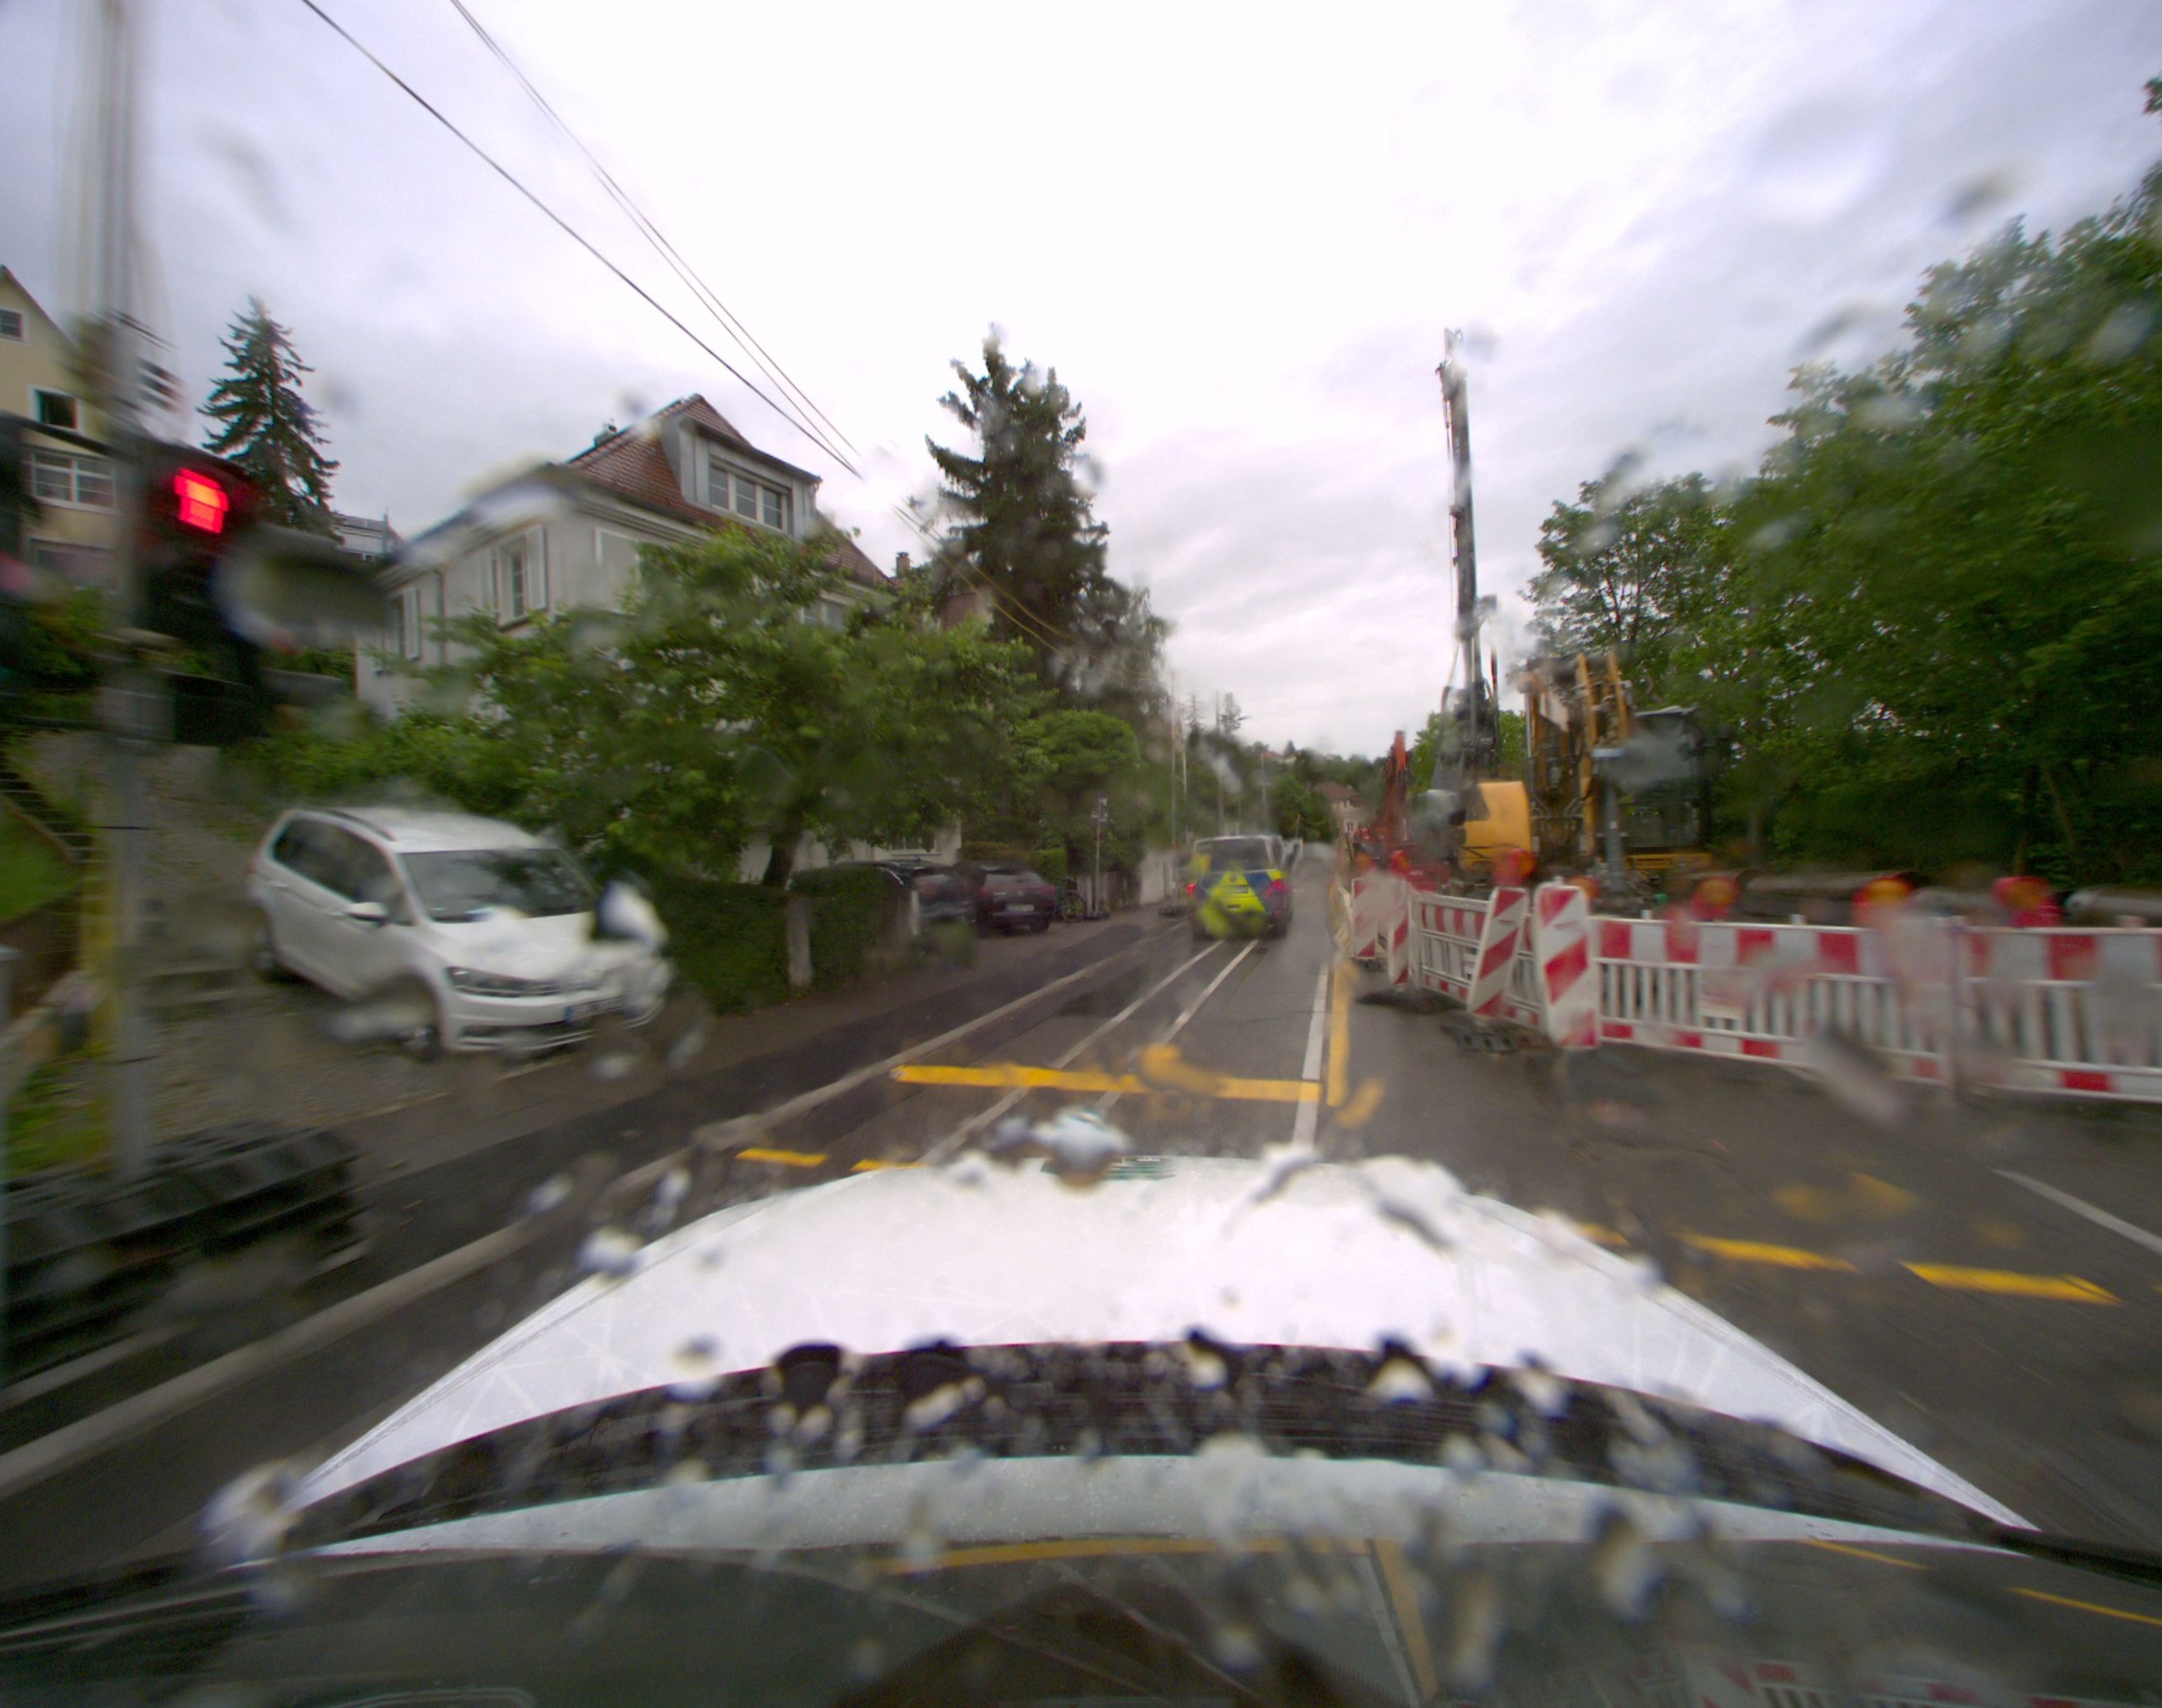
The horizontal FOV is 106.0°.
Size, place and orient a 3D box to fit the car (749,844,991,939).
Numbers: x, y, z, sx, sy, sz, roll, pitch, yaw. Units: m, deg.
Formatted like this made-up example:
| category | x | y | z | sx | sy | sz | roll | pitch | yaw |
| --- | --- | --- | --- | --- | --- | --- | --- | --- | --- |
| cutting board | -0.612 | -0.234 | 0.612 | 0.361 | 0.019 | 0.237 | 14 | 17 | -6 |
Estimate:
| category | x | y | z | sx | sy | sz | roll | pitch | yaw |
| --- | --- | --- | --- | --- | --- | --- | --- | --- | --- |
| car | -3.858 | 0.653 | 14.891 | 3.950 | 1.526 | 1.952 | -1 | -1 | 26 |

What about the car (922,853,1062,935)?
| category | x | y | z | sx | sy | sz | roll | pitch | yaw |
| --- | --- | --- | --- | --- | --- | --- | --- | --- | --- |
| car | -2.010 | 0.769 | 17.293 | 1.790 | 1.525 | 3.967 | 0 | -1 | -25 |

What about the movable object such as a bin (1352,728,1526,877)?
| category | x | y | z | sx | sy | sz | roll | pitch | yaw |
| --- | --- | --- | --- | --- | --- | --- | --- | --- | --- |
| movable object such as a bin | 14.210 | -1.782 | 32.054 | 7.204 | 5.067 | 3.648 | -1 | -3 | -45 |

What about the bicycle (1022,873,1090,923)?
| category | x | y | z | sx | sy | sz | roll | pitch | yaw |
| --- | --- | --- | --- | --- | --- | --- | --- | --- | --- |
| bicycle | -0.597 | 1.011 | 19.052 | 1.603 | 1.131 | 0.446 | -1 | -2 | 31 |

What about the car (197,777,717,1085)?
| category | x | y | z | sx | sy | sz | roll | pitch | yaw |
| --- | --- | --- | --- | --- | --- | --- | --- | --- | --- |
| car | -5.929 | 0.426 | 7.593 | 4.919 | 1.616 | 1.875 | 10 | 5 | 27 |

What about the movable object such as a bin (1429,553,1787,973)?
| category | x | y | z | sx | sy | sz | roll | pitch | yaw |
| --- | --- | --- | --- | --- | --- | --- | --- | --- | --- |
| movable object such as a bin | 6.321 | -0.872 | 10.660 | 2.854 | 4.171 | 4.510 | -3 | 0 | 20 |

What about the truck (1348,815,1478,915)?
| category | x | y | z | sx | sy | sz | roll | pitch | yaw |
| --- | --- | --- | --- | --- | --- | --- | --- | --- | --- |
| truck | 7.847 | 0.291 | 19.641 | 2.531 | 2.108 | 3.318 | -3 | -2 | 17 |

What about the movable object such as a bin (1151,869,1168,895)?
| category | x | y | z | sx | sy | sz | roll | pitch | yaw |
| --- | --- | --- | --- | --- | --- | --- | --- | --- | --- |
| movable object such as a bin | 2.865 | 1.019 | 29.631 | 0.503 | 0.965 | 0.500 | -1 | -1 | 17 |

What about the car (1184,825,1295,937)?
| category | x | y | z | sx | sy | sz | roll | pitch | yaw |
| --- | --- | --- | --- | --- | --- | --- | --- | --- | --- |
| car | 3.422 | 0.528 | 16.935 | 1.894 | 2.010 | 4.457 | -1 | -1 | 15 |
